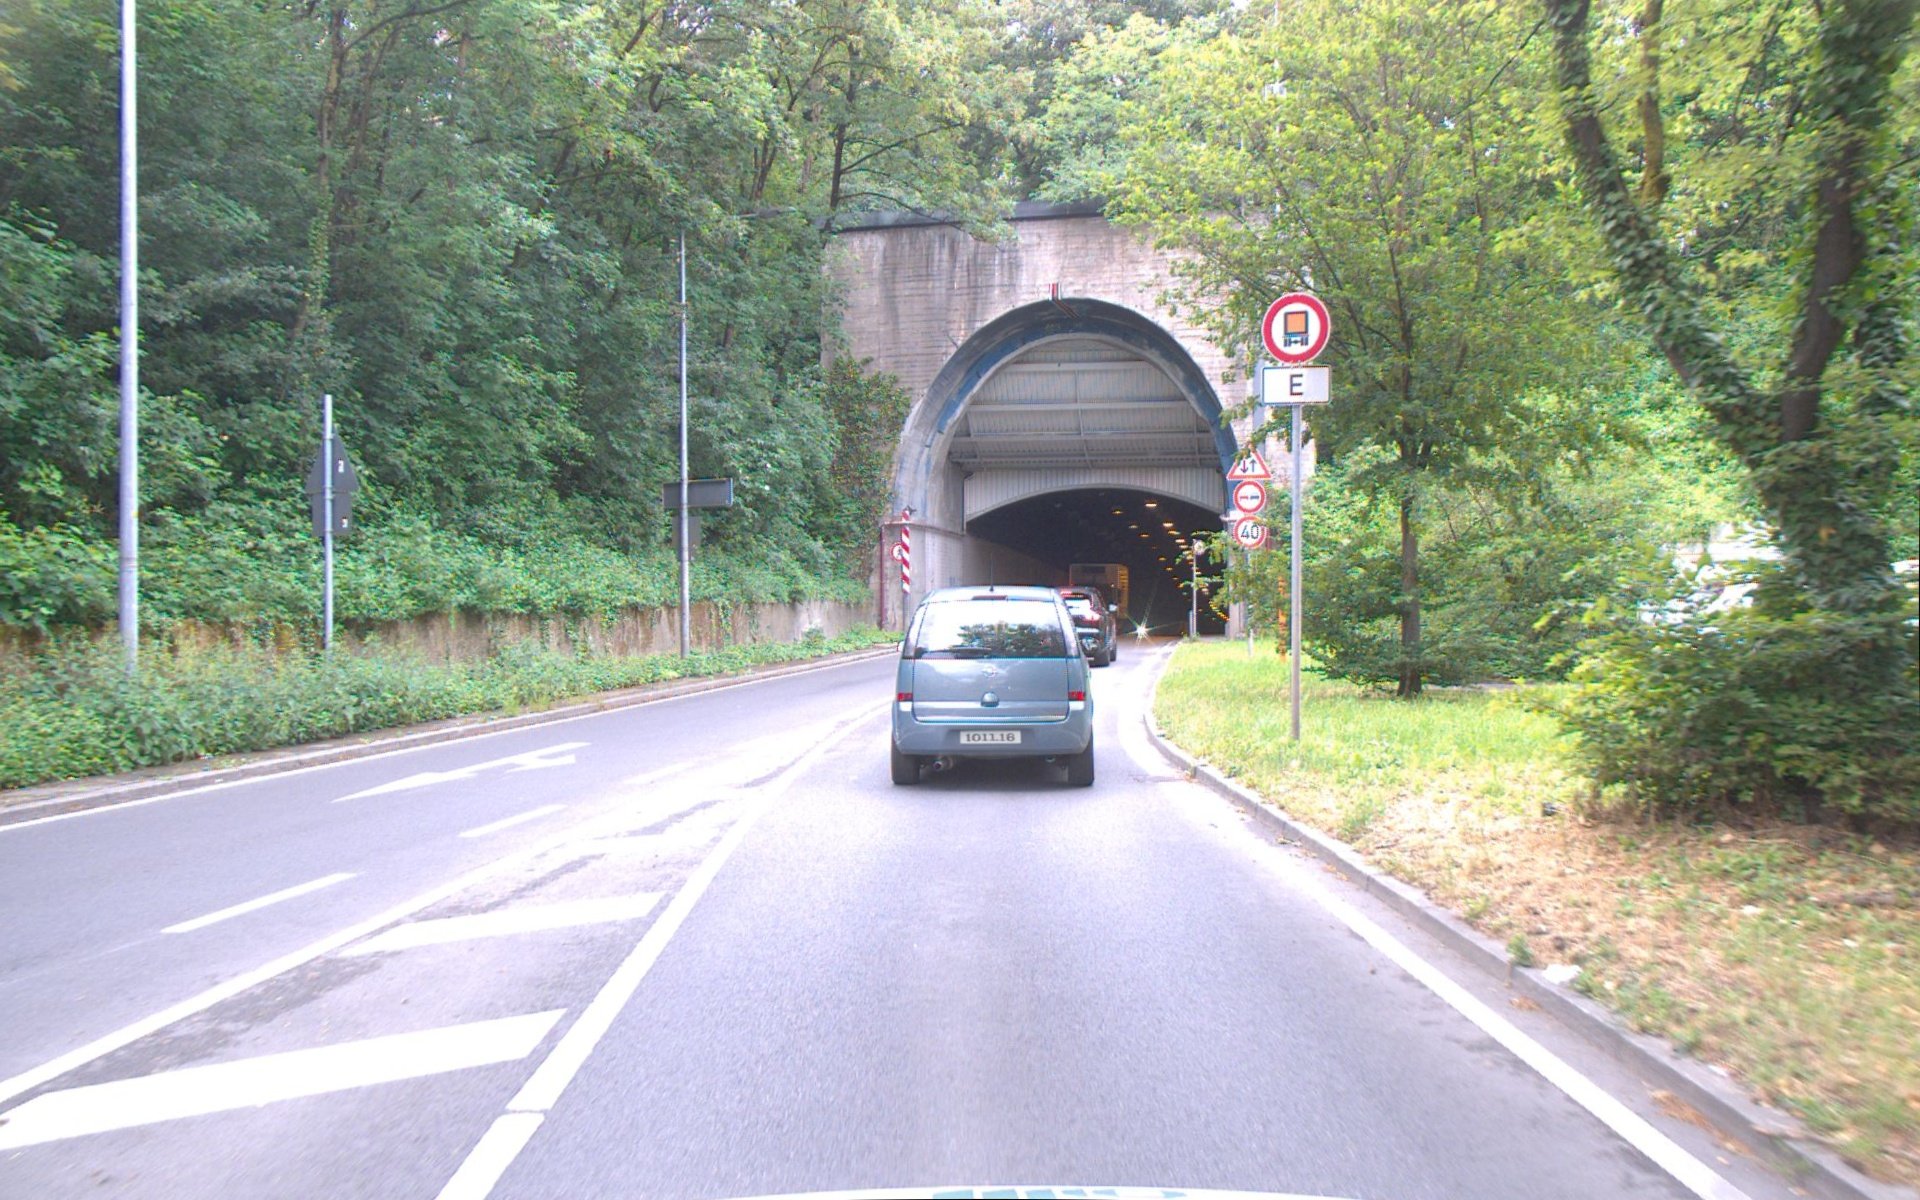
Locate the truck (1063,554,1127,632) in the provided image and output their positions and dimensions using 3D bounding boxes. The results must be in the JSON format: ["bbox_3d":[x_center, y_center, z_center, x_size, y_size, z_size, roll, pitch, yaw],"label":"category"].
[{"bbox_3d":[6.865,-0.332,83.331,2.618,3.731,7.524,0,0,9],"label":"truck"}]

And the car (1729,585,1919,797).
[{"bbox_3d":[8.012,0.645,13.481,1.747,1.467,5.067,-1,0,8],"label":"car"}]

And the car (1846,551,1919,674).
[{"bbox_3d":[17.065,0.205,28.440,1.816,2.050,4.566,0,0,9],"label":"car"}]

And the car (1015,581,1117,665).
[{"bbox_3d":[2.361,0.490,36.008,1.951,1.682,4.003,-1,0,7],"label":"car"}]

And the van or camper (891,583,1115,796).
[{"bbox_3d":[0.300,0.672,14.544,1.700,1.605,3.645,-1,0,-1],"label":"van or camper"}]
